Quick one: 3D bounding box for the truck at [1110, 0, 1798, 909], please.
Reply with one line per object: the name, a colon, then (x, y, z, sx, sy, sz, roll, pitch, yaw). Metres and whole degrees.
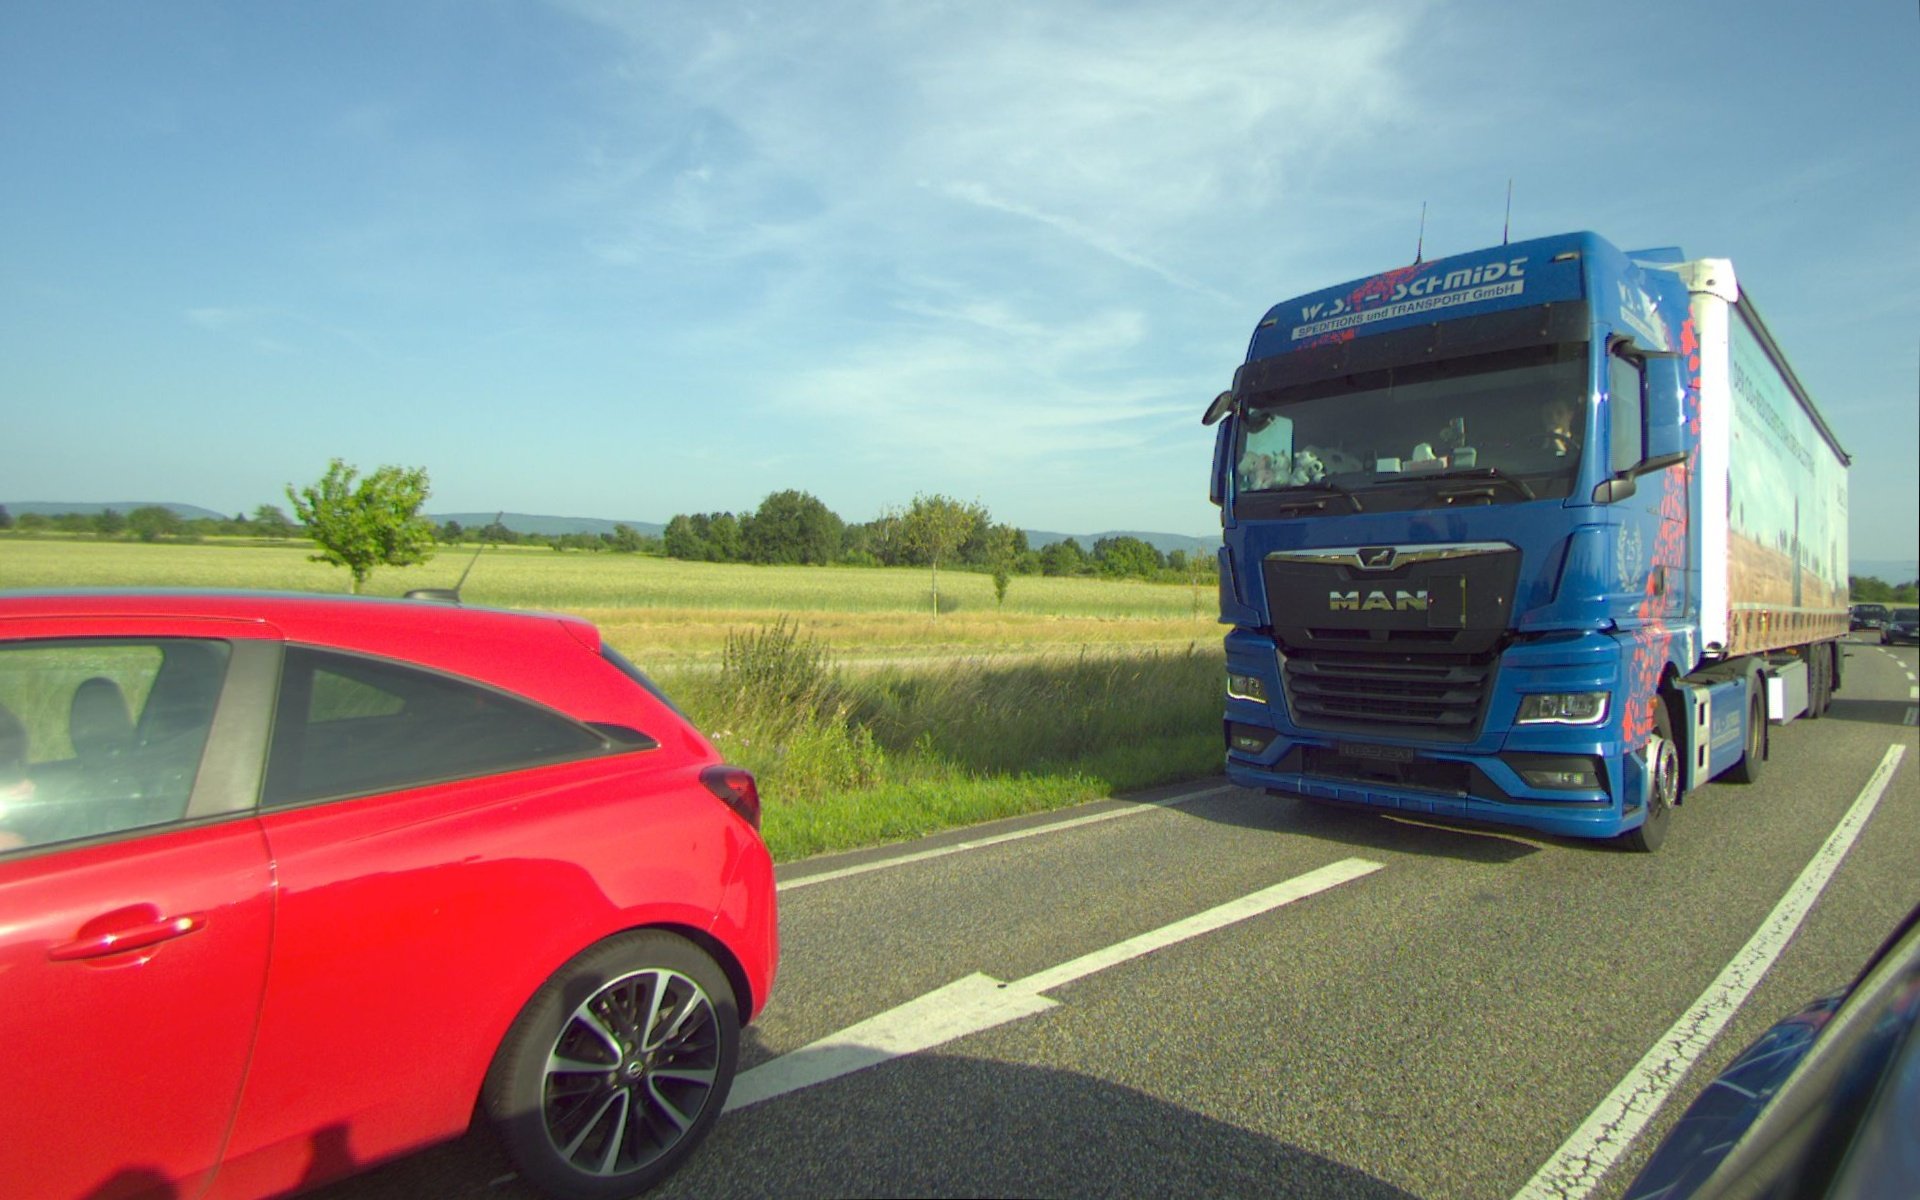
truck: (4.227, -0.890, 8.097, 5.639, 4.716, 3.302, 0, 0, -45)

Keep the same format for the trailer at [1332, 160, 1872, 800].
trailer: (9.331, -0.946, 13.272, 3.283, 4.740, 12.934, 0, 1, 45)

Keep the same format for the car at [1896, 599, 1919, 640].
car: (37.086, 0.725, 38.803, 1.579, 1.523, 3.607, 2, 1, 40)

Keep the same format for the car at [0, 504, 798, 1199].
car: (-2.357, 0.603, 2.092, 3.688, 1.568, 1.698, 0, 1, -44)

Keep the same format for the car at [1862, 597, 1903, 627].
car: (51.550, 0.631, 56.577, 1.551, 1.579, 3.004, 2, 1, 40)

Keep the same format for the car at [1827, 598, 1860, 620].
car: (60.114, 0.564, 68.887, 1.551, 1.417, 3.977, 2, 1, 40)
